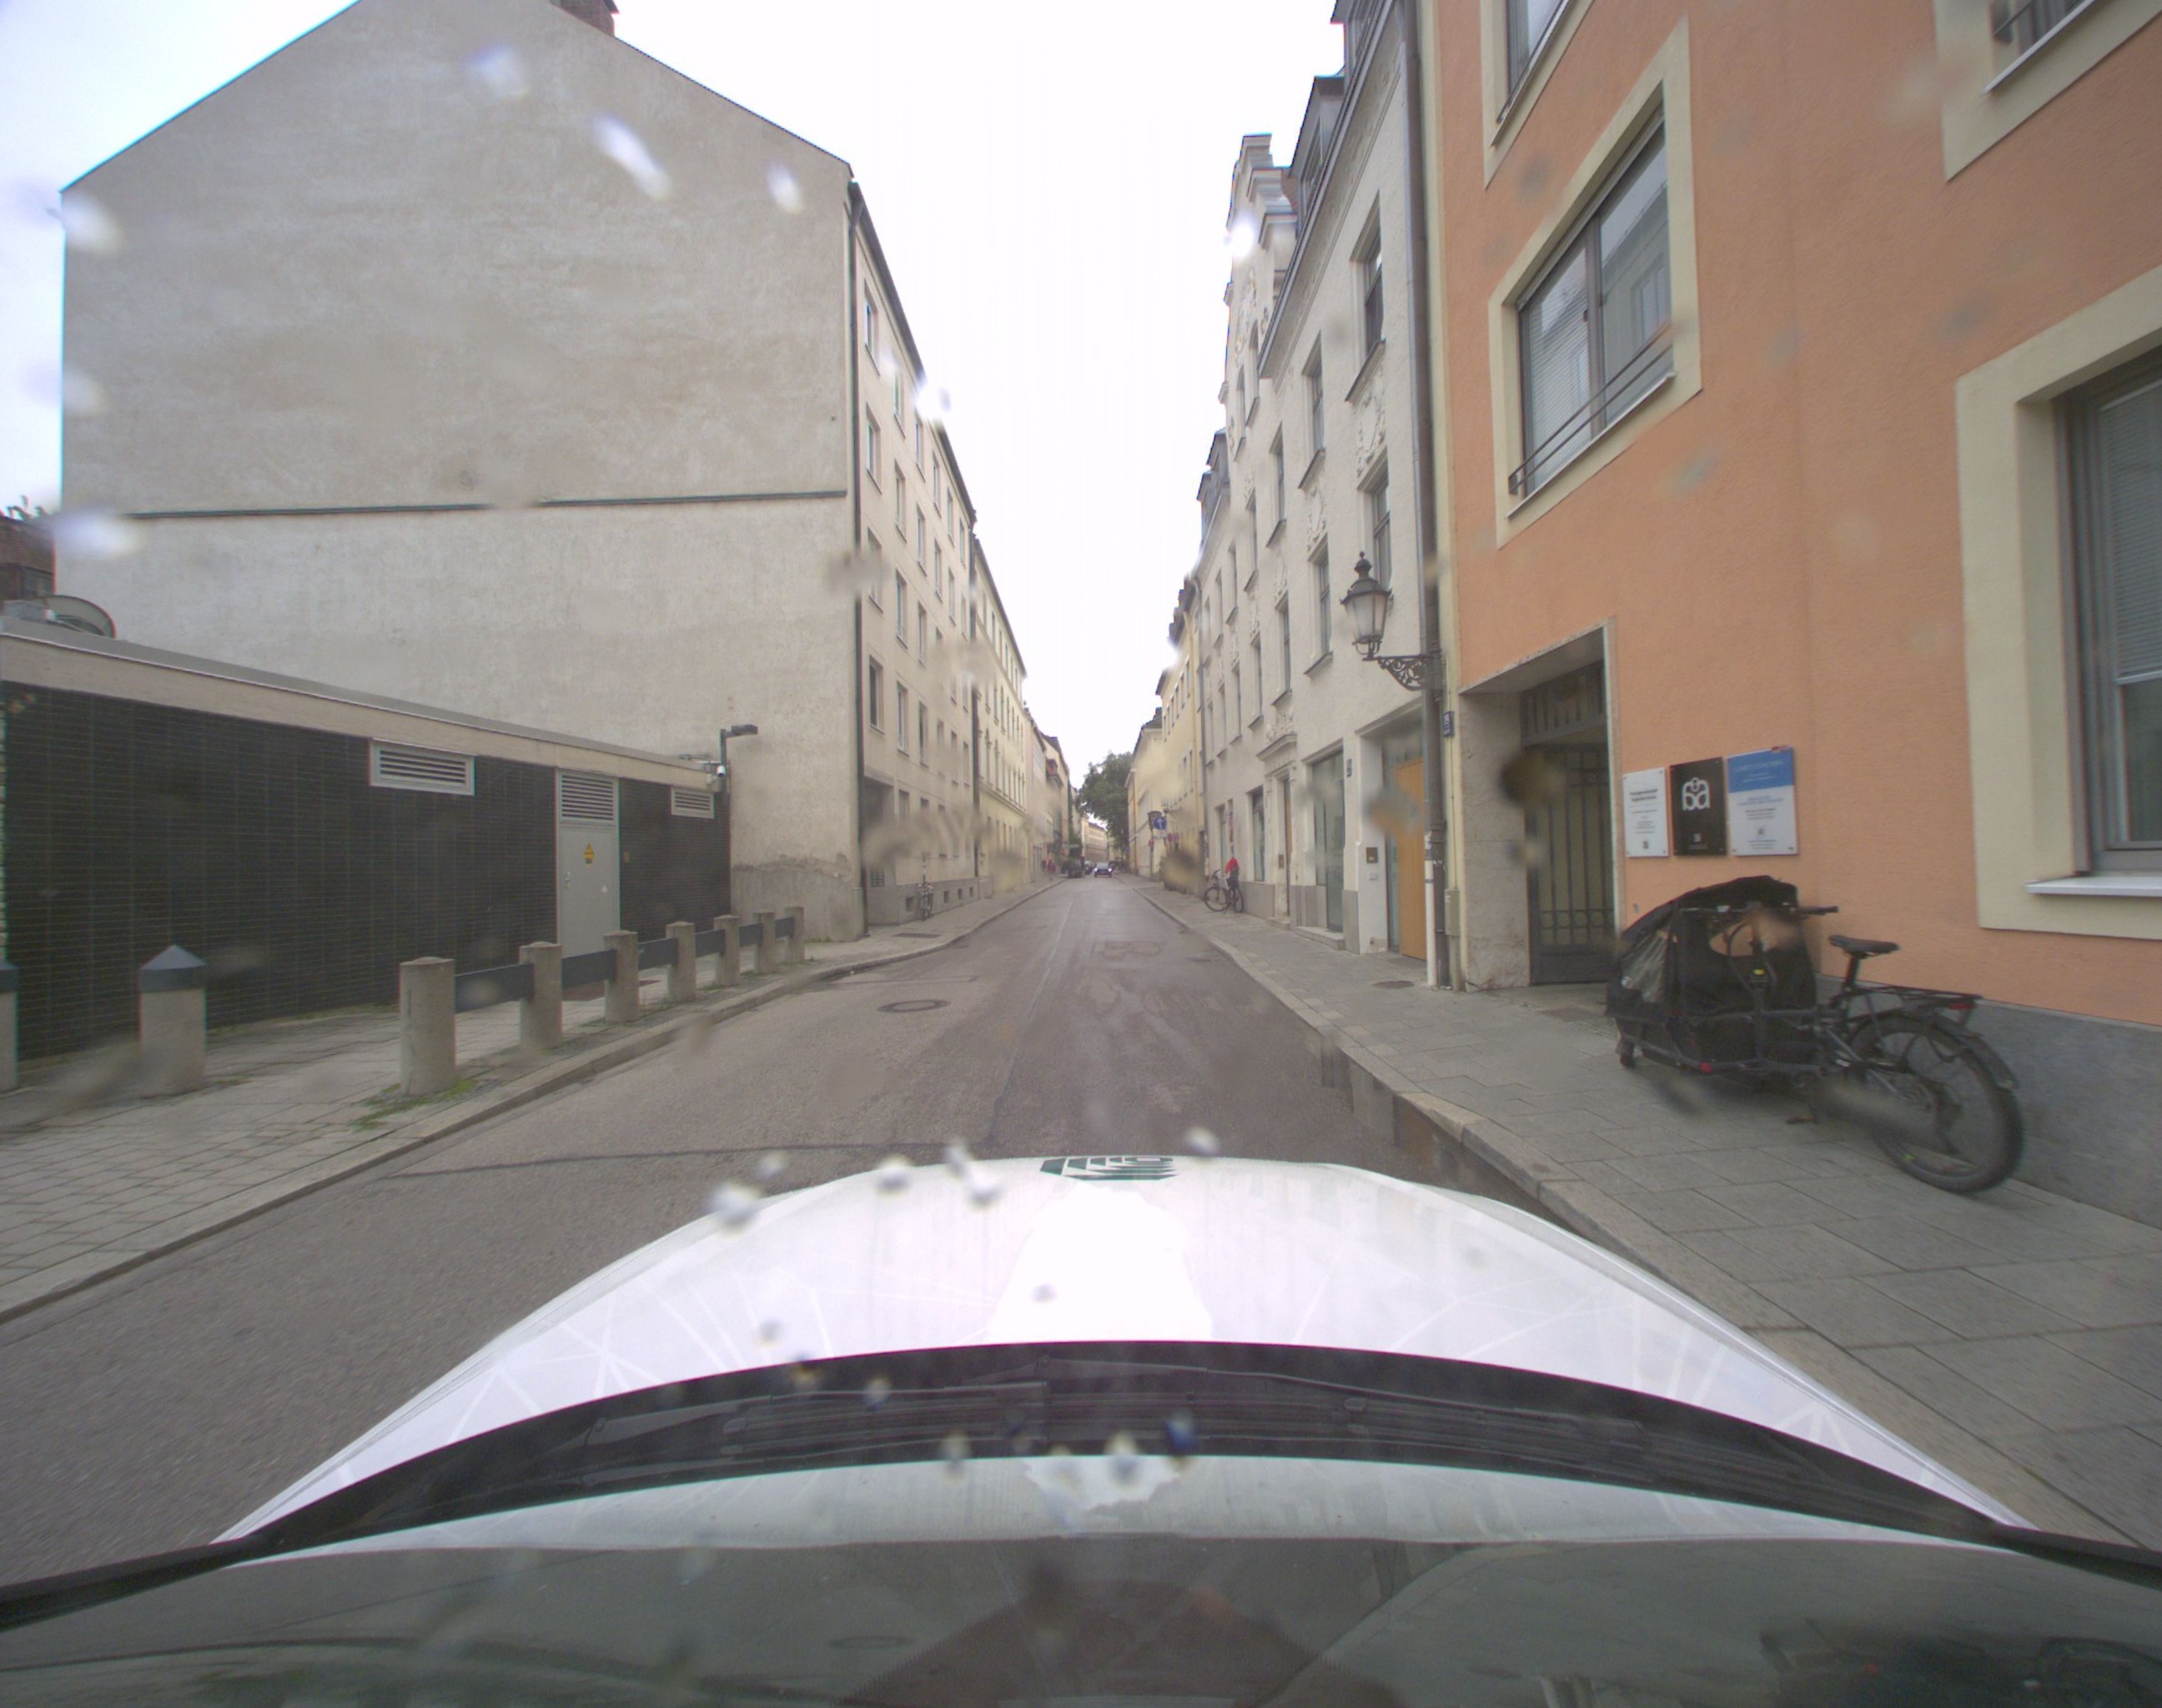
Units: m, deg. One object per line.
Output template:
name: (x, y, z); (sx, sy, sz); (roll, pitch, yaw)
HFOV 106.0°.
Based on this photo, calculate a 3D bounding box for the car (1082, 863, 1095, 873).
car: (1.117, 2.102, 123.666); (1.771, 1.466, 3.545); (-1, -1, 4)

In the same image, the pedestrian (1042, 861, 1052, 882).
pedestrian: (-2.924, 1.516, 70.436); (0.807, 1.755, 0.989); (-1, 0, -1)

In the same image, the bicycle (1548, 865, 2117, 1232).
bicycle: (3.410, 0.725, 4.152); (0.676, 1.240, 2.384); (-6, 0, 3)

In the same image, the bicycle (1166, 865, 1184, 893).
bicycle: (3.978, 1.034, 34.401); (0.563, 1.137, 1.685); (-4, -1, 2)

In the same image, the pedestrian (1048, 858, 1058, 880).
pedestrian: (-2.269, 1.205, 65.949); (0.763, 1.708, 0.785); (-2, -1, -1)

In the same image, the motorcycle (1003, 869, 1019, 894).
motorcycle: (-3.458, 1.339, 40.334); (0.600, 1.174, 1.709); (-1, -1, 2)

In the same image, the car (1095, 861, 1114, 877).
car: (2.421, 1.561, 84.373); (1.806, 1.594, 4.001); (-1, -1, 1)

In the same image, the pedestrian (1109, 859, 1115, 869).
pedestrian: (5.426, 1.743, 143.664); (1.012, 1.802, 1.349); (-1, -1, 2)

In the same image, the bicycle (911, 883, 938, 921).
bicycle: (-4.236, 1.281, 22.110); (0.318, 0.944, 1.575); (1, -1, 3)

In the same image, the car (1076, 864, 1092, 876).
car: (0.420, 1.988, 103.586); (1.771, 1.466, 3.666); (-1, -1, 4)

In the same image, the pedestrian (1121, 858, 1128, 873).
pedestrian: (5.396, 1.404, 100.397); (0.877, 1.802, 1.046); (-1, -1, 2)

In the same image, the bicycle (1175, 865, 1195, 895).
bicycle: (4.102, 1.006, 32.163); (0.563, 1.137, 1.988); (-4, -1, 2)

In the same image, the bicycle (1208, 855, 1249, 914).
bicycle: (3.792, 0.762, 21.096); (0.710, 1.396, 2.124); (-4, -1, 4)
